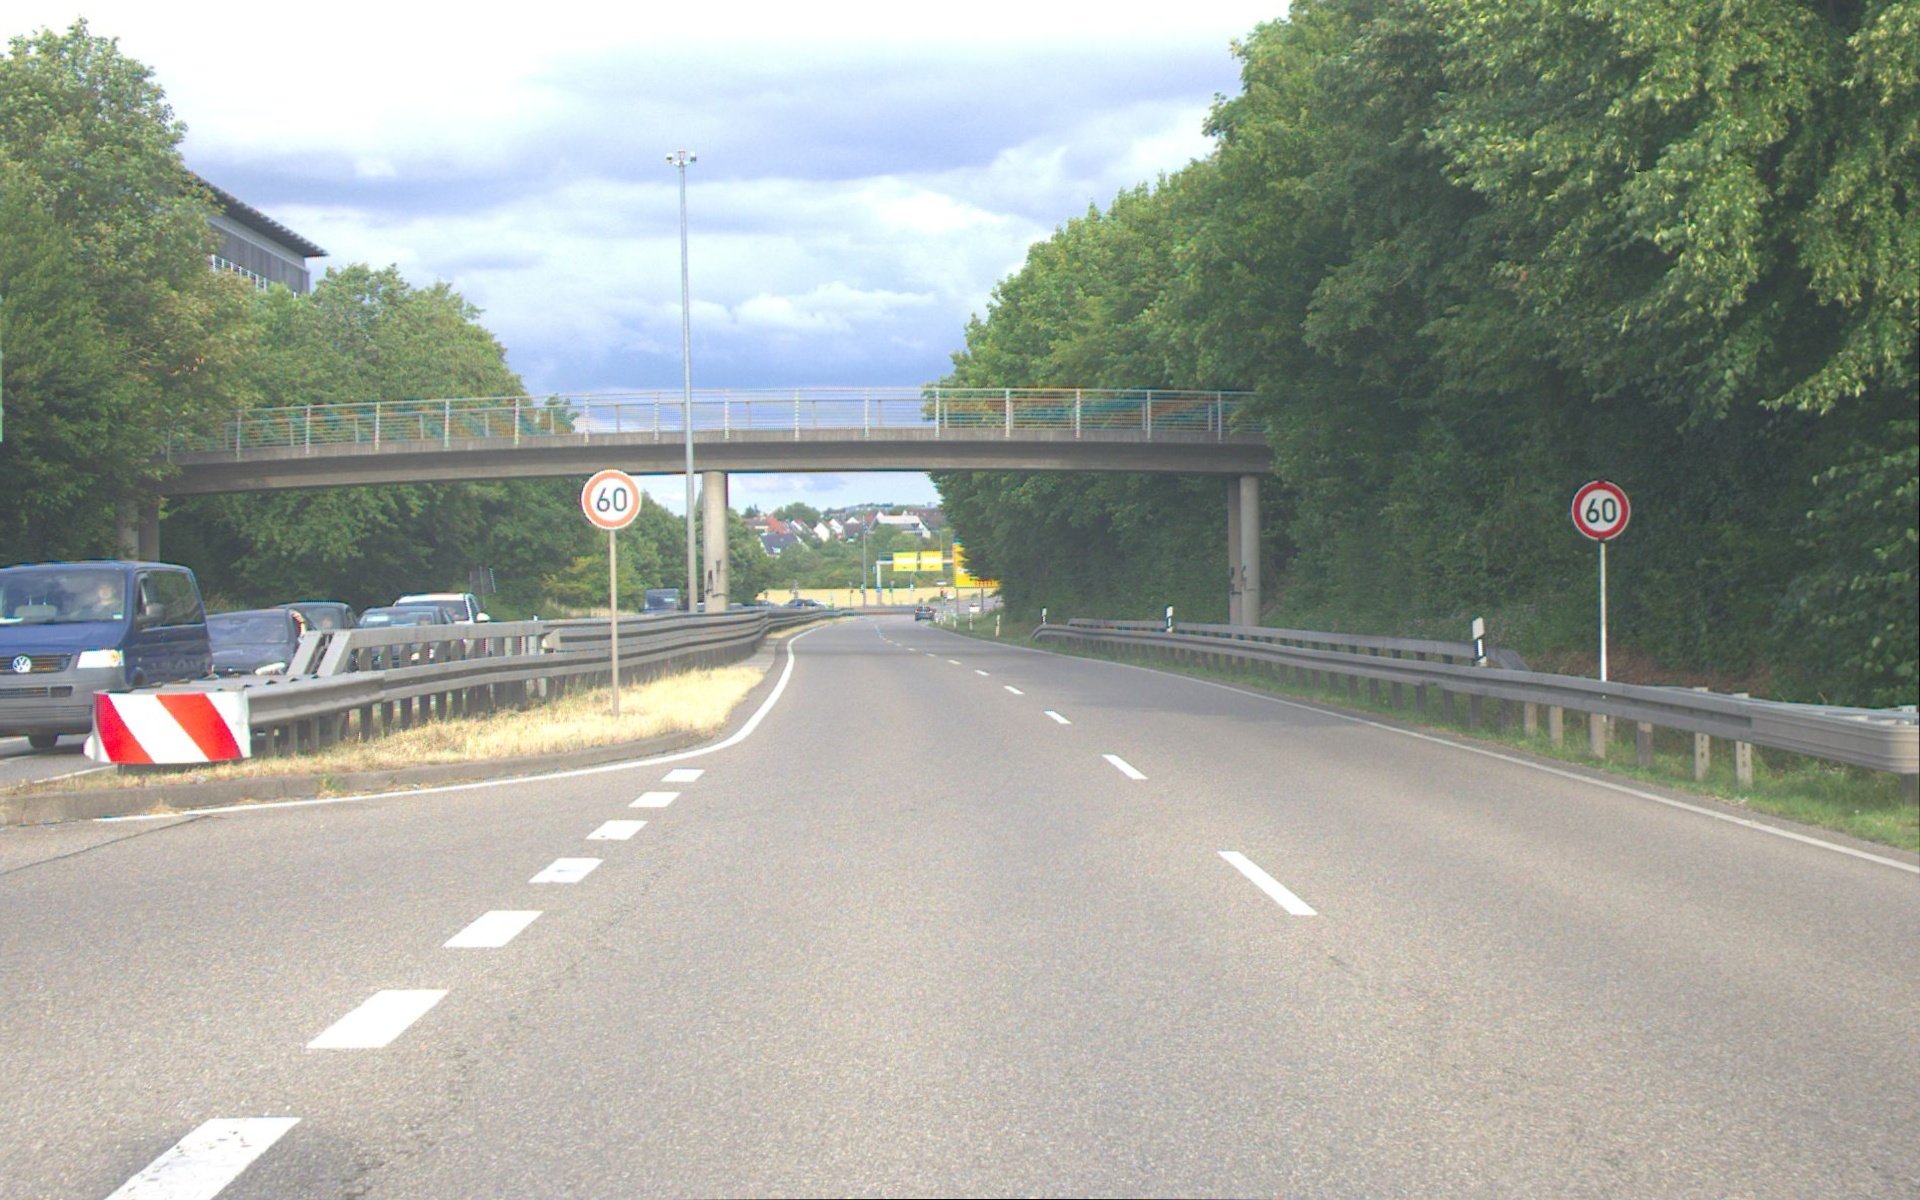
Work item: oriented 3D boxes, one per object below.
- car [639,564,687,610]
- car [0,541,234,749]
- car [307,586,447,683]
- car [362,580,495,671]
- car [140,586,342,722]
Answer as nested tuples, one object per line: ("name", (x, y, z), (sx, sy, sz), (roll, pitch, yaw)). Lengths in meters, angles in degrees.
("car", (-16.423, -0.721, 190.218), (2.249, 2.528, 6.941), (0, 0, -2))
("car", (-8.991, 0.446, 35.286), (1.898, 1.910, 5.050), (-4, 0, 0))
("car", (-9.450, 0.541, 55.923), (1.718, 1.462, 3.734), (-2, 0, -2))
("car", (-9.819, 0.447, 63.819), (1.822, 1.579, 4.791), (-1, 0, -2))
("car", (-9.128, 0.654, 43.959), (1.712, 1.584, 4.554), (-2, 0, -2))
